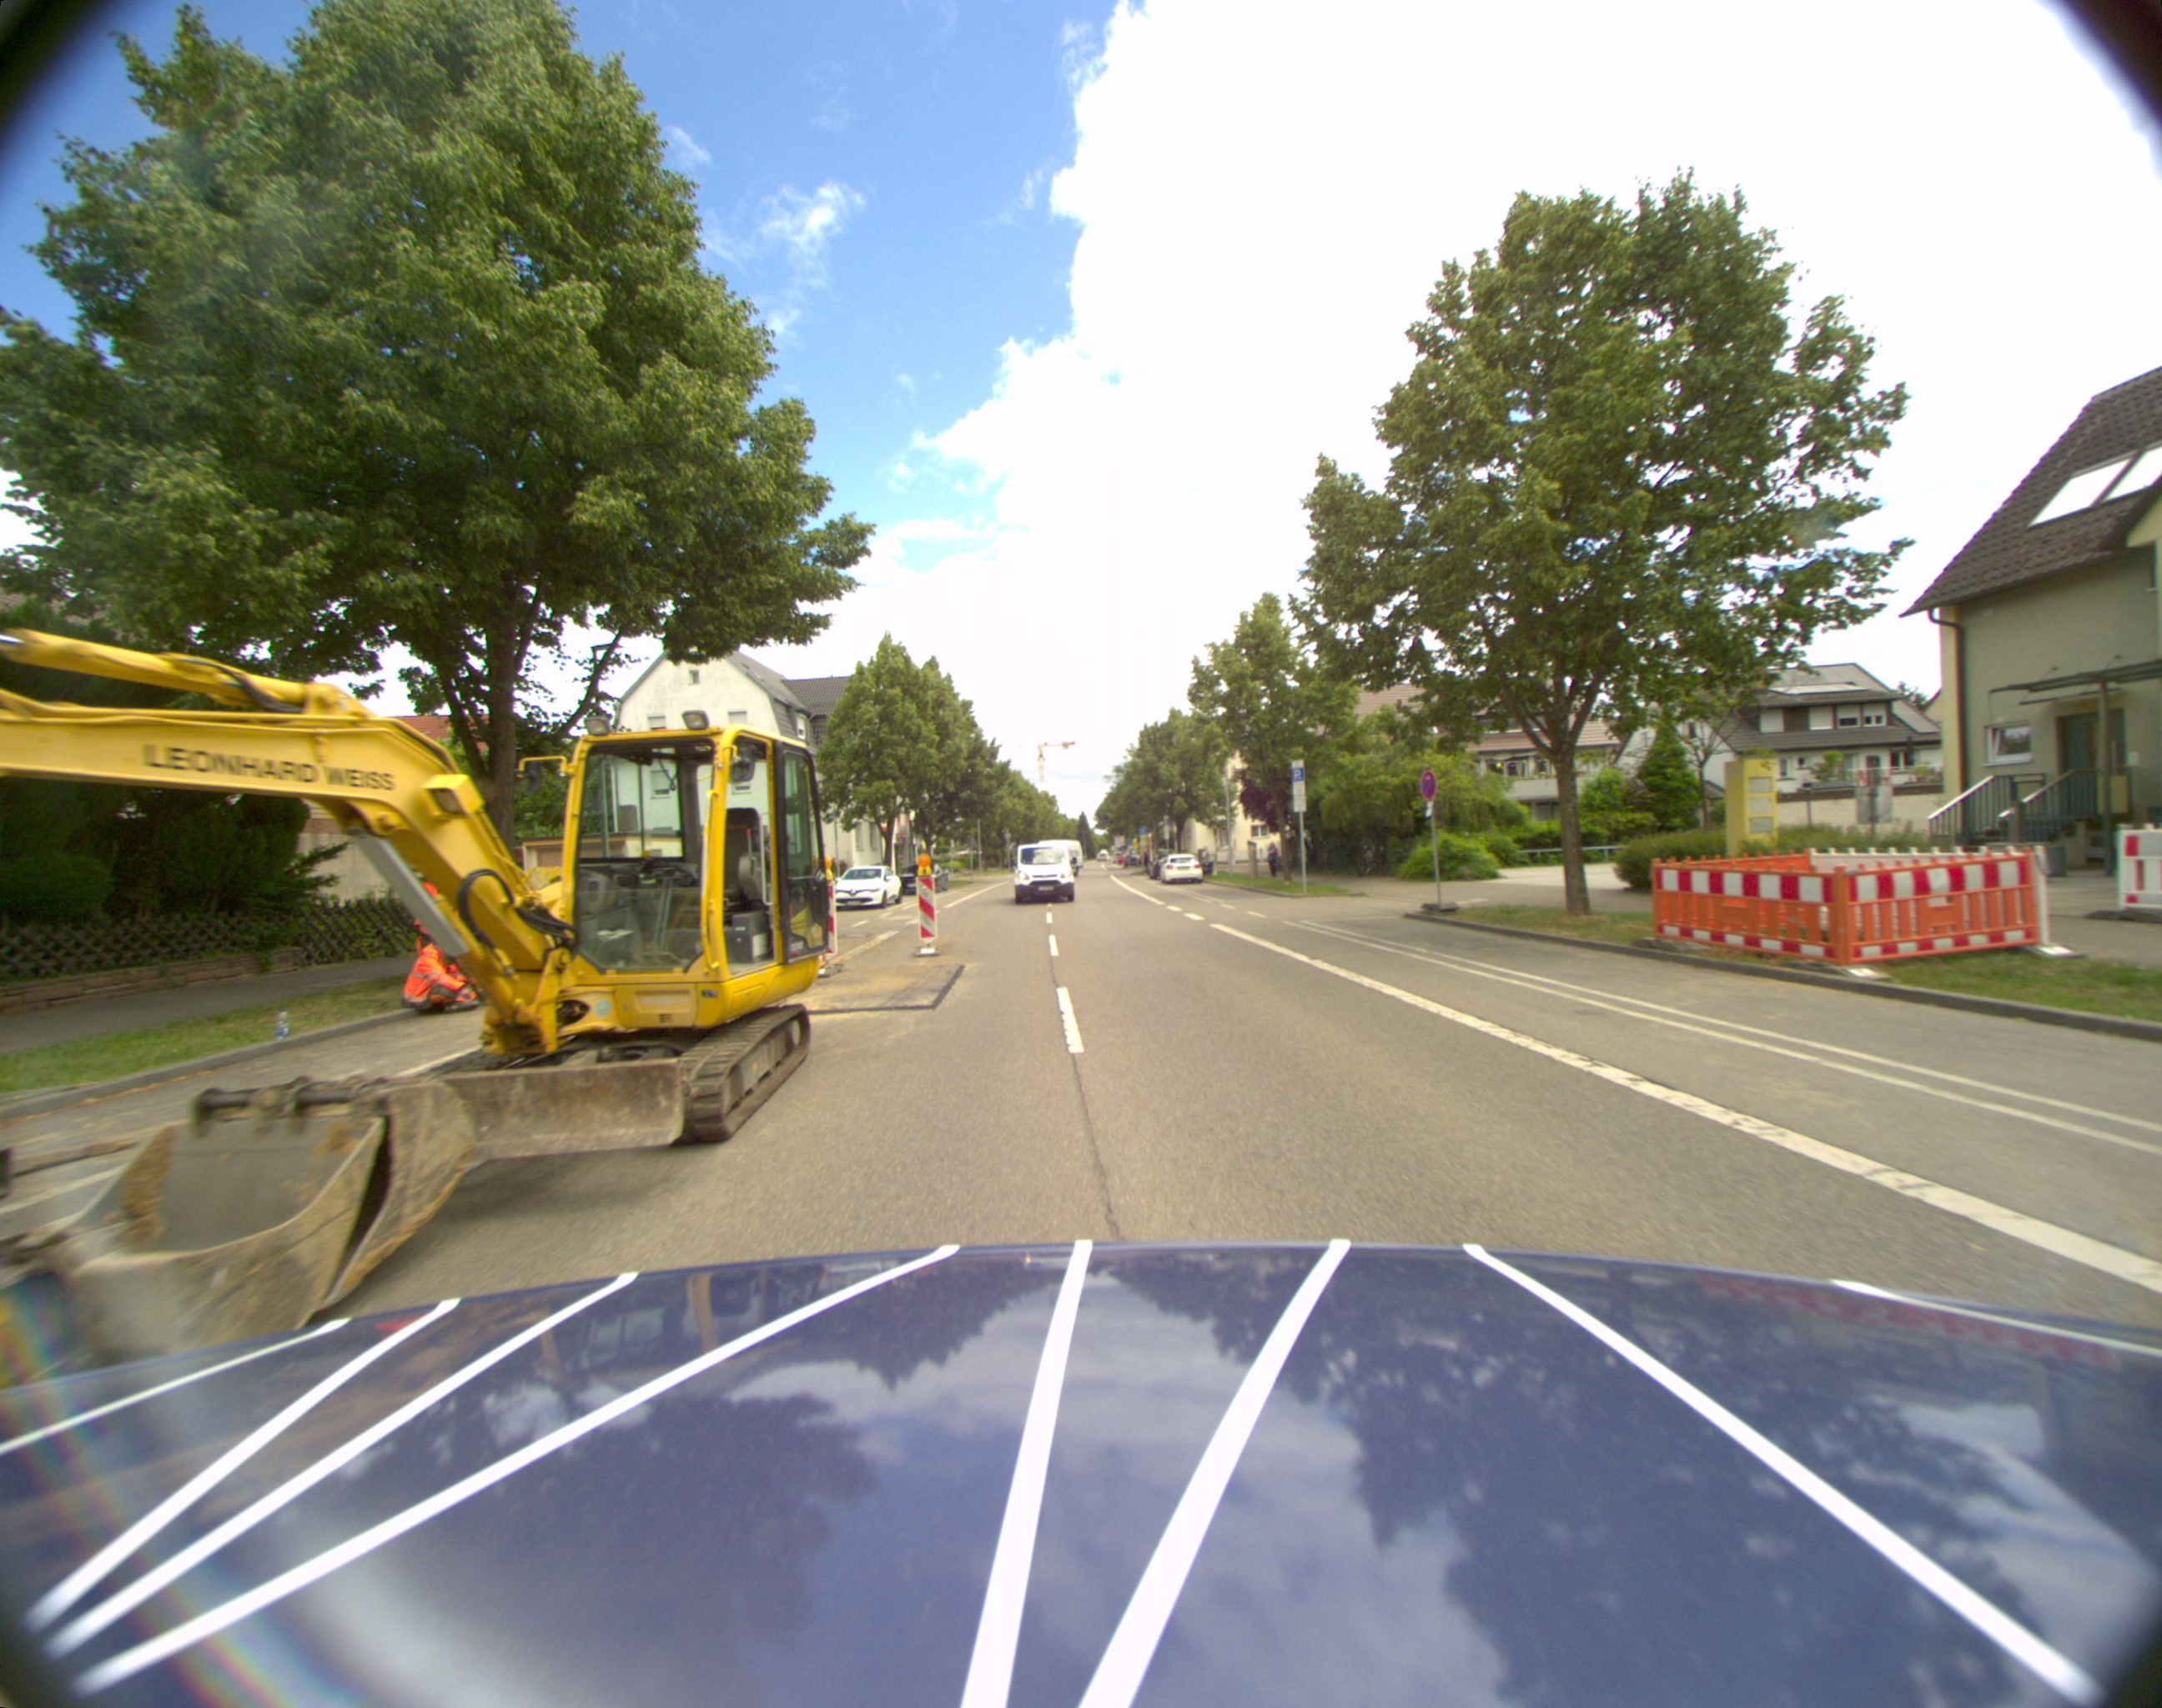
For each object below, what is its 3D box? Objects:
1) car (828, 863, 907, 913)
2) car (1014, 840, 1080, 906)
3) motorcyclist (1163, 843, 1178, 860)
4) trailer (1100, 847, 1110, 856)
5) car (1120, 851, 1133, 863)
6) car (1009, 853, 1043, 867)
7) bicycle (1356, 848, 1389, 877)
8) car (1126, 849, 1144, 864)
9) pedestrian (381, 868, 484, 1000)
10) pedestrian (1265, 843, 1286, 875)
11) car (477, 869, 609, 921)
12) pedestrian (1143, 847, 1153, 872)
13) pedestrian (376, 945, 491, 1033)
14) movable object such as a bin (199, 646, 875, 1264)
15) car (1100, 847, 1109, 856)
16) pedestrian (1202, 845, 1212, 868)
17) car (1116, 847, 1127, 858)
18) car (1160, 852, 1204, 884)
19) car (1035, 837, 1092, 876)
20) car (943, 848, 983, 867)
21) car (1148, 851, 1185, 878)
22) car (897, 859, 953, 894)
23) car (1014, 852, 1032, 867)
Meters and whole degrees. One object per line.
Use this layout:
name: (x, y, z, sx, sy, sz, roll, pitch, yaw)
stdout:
car: (-7.309, 1.116, 26.412, 1.677, 1.454, 3.999, -2, 0, -2)
car: (-1.292, 0.616, 26.813, 1.999, 2.002, 5.048, -3, 0, -5)
motorcyclist: (7.645, -0.228, 64.903, 1.109, 1.357, 0.753, -2, 1, -1)
trailer: (4.919, -0.472, 156.563, 1.943, 1.667, 4.688, -2, 0, 1)
car: (6.172, 0.357, 104.396, 1.689, 1.532, 4.132, -2, 0, 3)
car: (-6.983, 0.789, 96.768, 4.229, 1.628, 1.692, -2, 0, -4)
bicycle: (11.065, 0.324, 28.917, 0.463, 1.042, 1.581, -3, 1, -6)
car: (5.775, 0.256, 81.496, 1.735, 1.460, 4.301, -2, 0, 2)
pedestrian: (-8.433, 1.011, 9.903, 0.706, 1.625, 0.643, -2, 1, -2)
pedestrian: (9.178, 0.237, 35.854, 0.584, 1.520, 0.697, -3, 1, -35)
car: (-18.128, 1.321, 25.842, 1.677, 1.454, 3.999, -2, 0, -2)
pedestrian: (4.632, 0.363, 52.344, 0.543, 1.671, 0.751, -4, -1, 9)
pedestrian: (-7.370, 1.520, 8.679, 0.714, 0.854, 0.673, -2, 1, -8)
movable object such as a bin: (-2.811, 0.423, 5.111, 1.773, 2.559, 3.739, -3, 0, -1)
car: (4.974, -0.570, 161.296, 1.971, 1.820, 4.819, -2, 0, 1)
pedestrian: (8.475, 0.159, 51.087, 0.431, 1.543, 0.806, -3, 1, 1)
car: (6.933, -0.262, 130.360, 1.774, 1.760, 4.552, -3, 0, 3)
car: (4.927, 0.643, 37.486, 1.718, 1.398, 4.300, -2, 0, 3)
car: (-1.128, 0.135, 55.047, 2.216, 2.579, 7.319, -2, 0, 14)
car: (-17.811, 0.557, 114.804, 5.729, 2.576, 1.997, -3, 0, -3)
car: (4.906, 0.583, 43.956, 1.647, 1.412, 4.020, -2, 0, 0)
car: (-7.332, 1.023, 36.140, 1.710, 1.446, 4.616, -2, 0, 0)
car: (-6.480, 0.612, 85.287, 1.726, 1.571, 4.060, -2, 0, -1)
